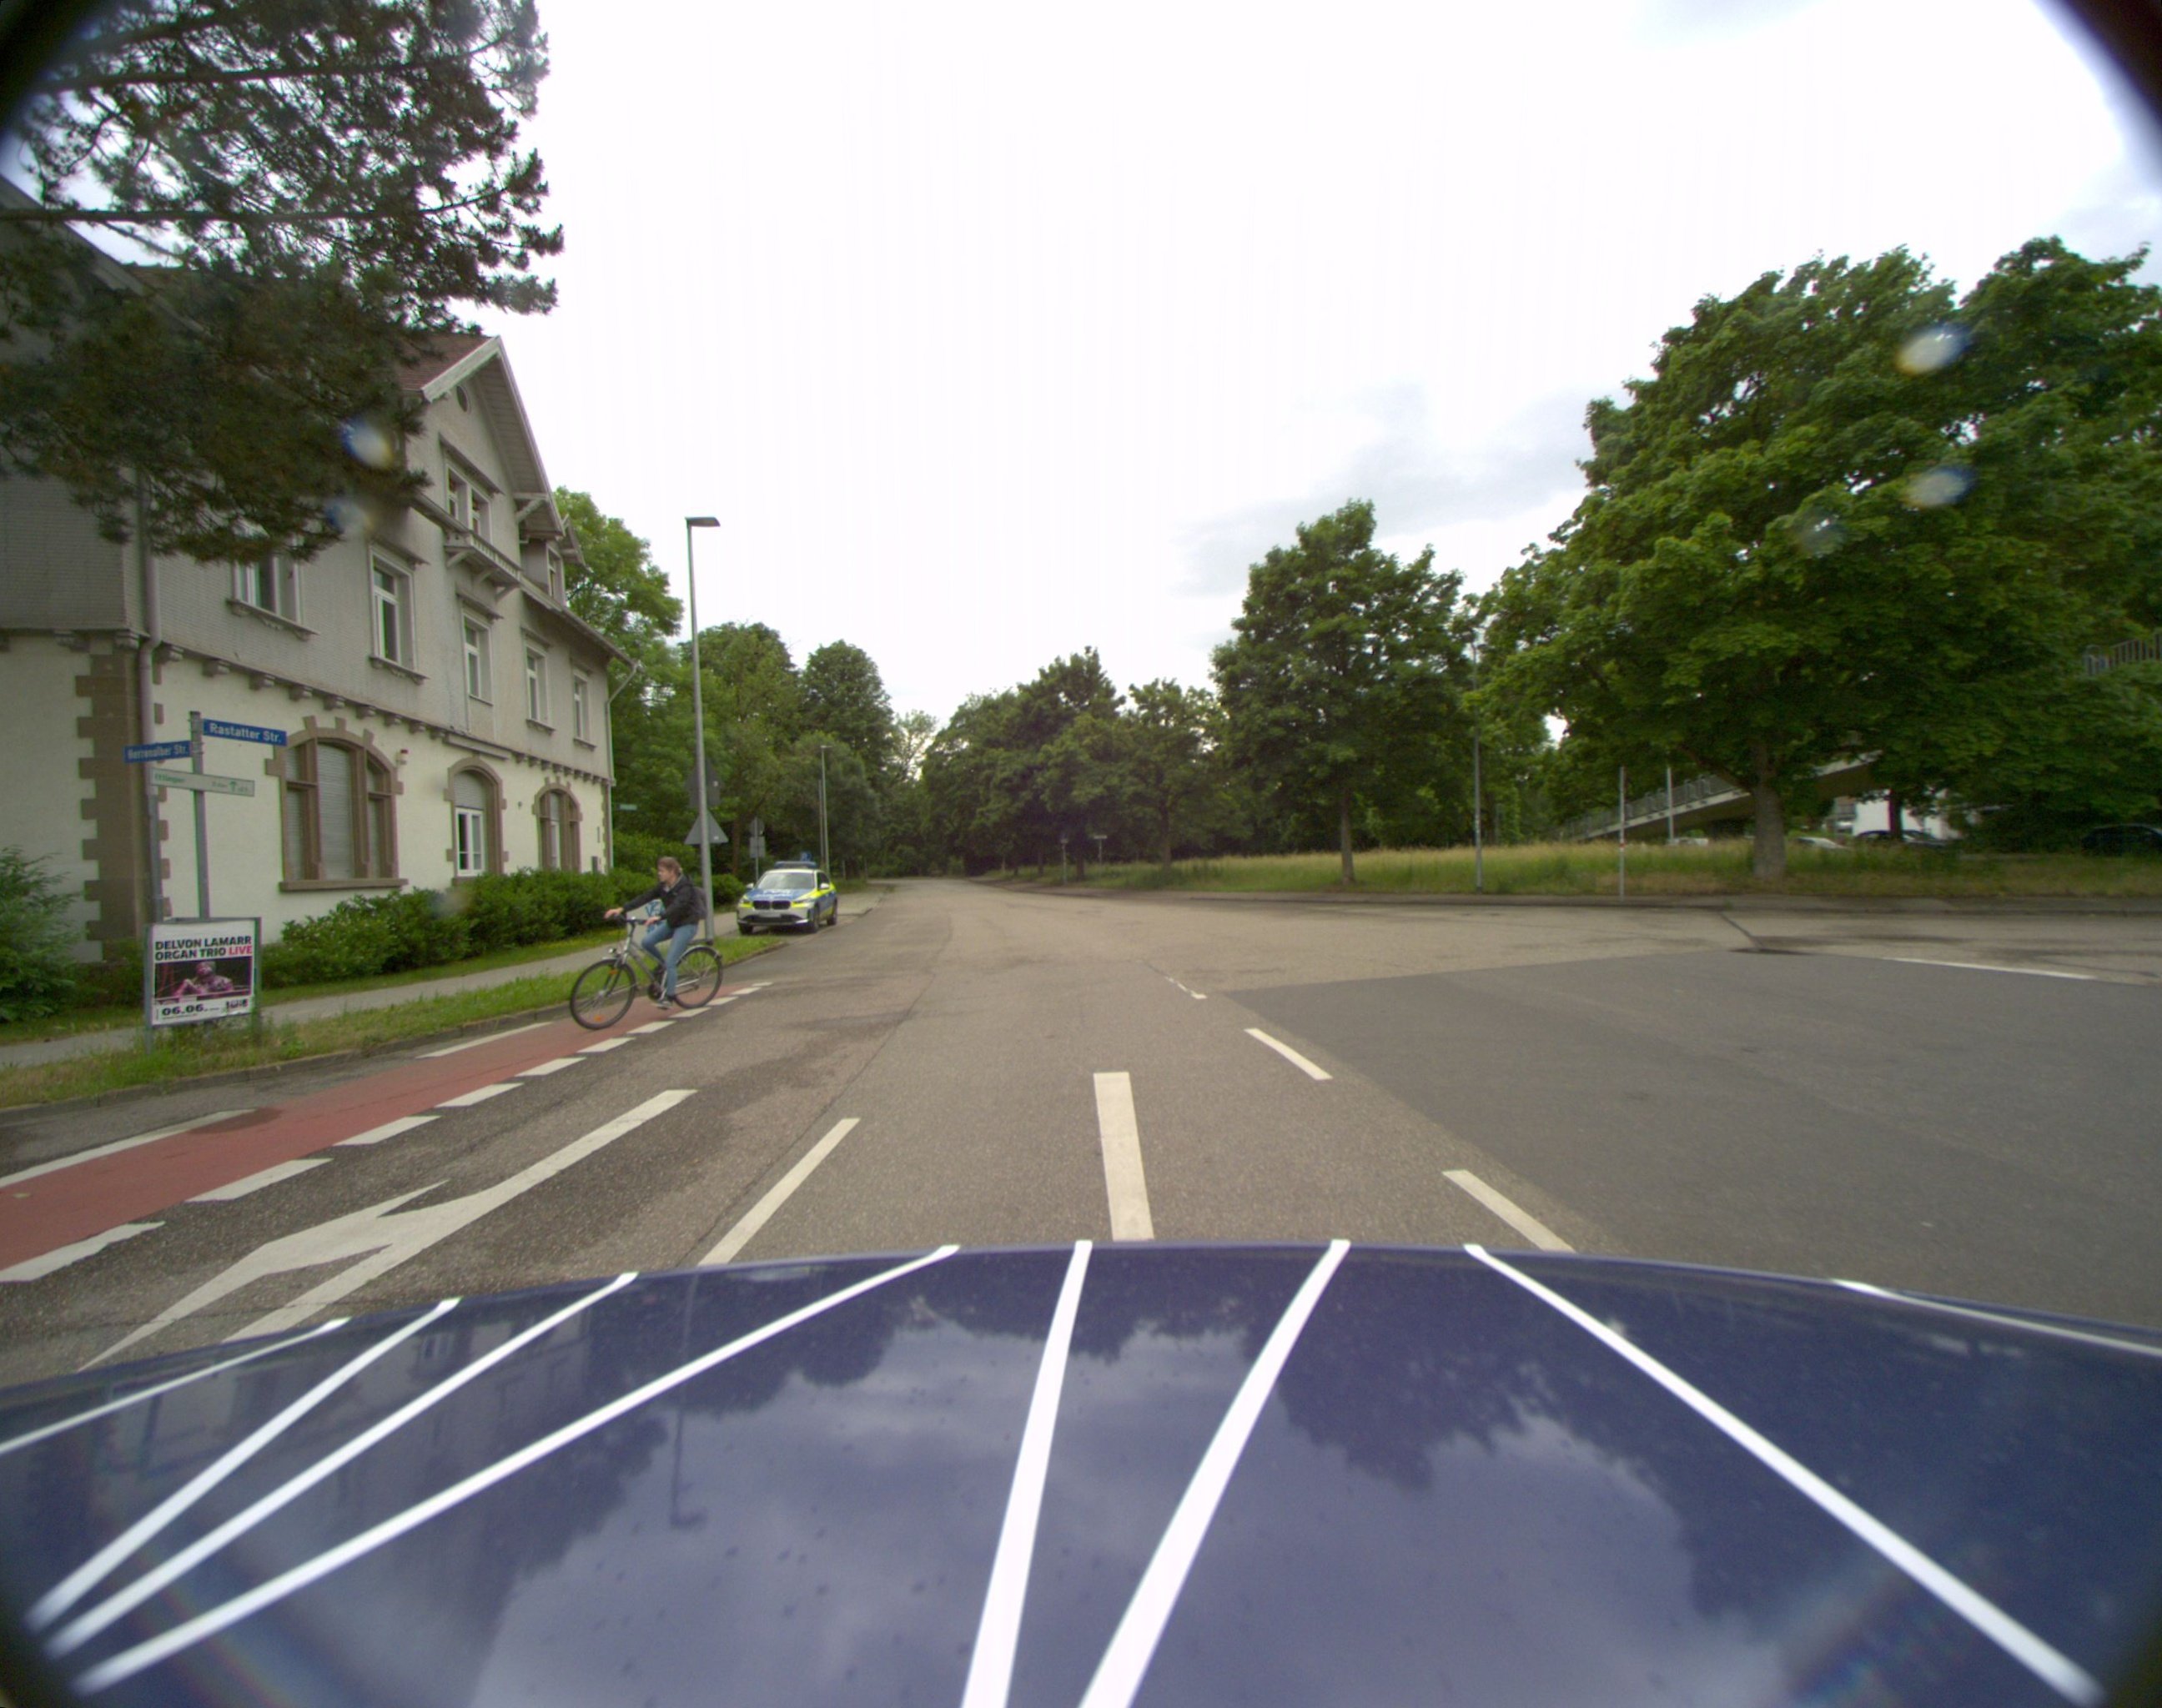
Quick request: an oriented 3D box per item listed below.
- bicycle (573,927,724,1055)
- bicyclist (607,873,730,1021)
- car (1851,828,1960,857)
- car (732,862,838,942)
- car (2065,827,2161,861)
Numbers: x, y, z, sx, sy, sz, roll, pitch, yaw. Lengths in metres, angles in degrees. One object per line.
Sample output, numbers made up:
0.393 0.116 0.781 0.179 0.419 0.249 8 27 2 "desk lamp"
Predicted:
-4.530 1.378 8.136 0.383 0.975 2.029 -2 1 1 "bicycle"
-4.381 0.951 8.141 0.623 1.416 0.961 -6 1 0 "bicyclist"
41.826 -0.574 38.689 1.692 1.343 4.003 -2 0 11 "car"
-7.615 1.152 19.930 1.937 1.839 3.996 0 0 -12 "car"
40.404 -0.393 28.710 1.692 1.231 4.003 -2 0 11 "car"
